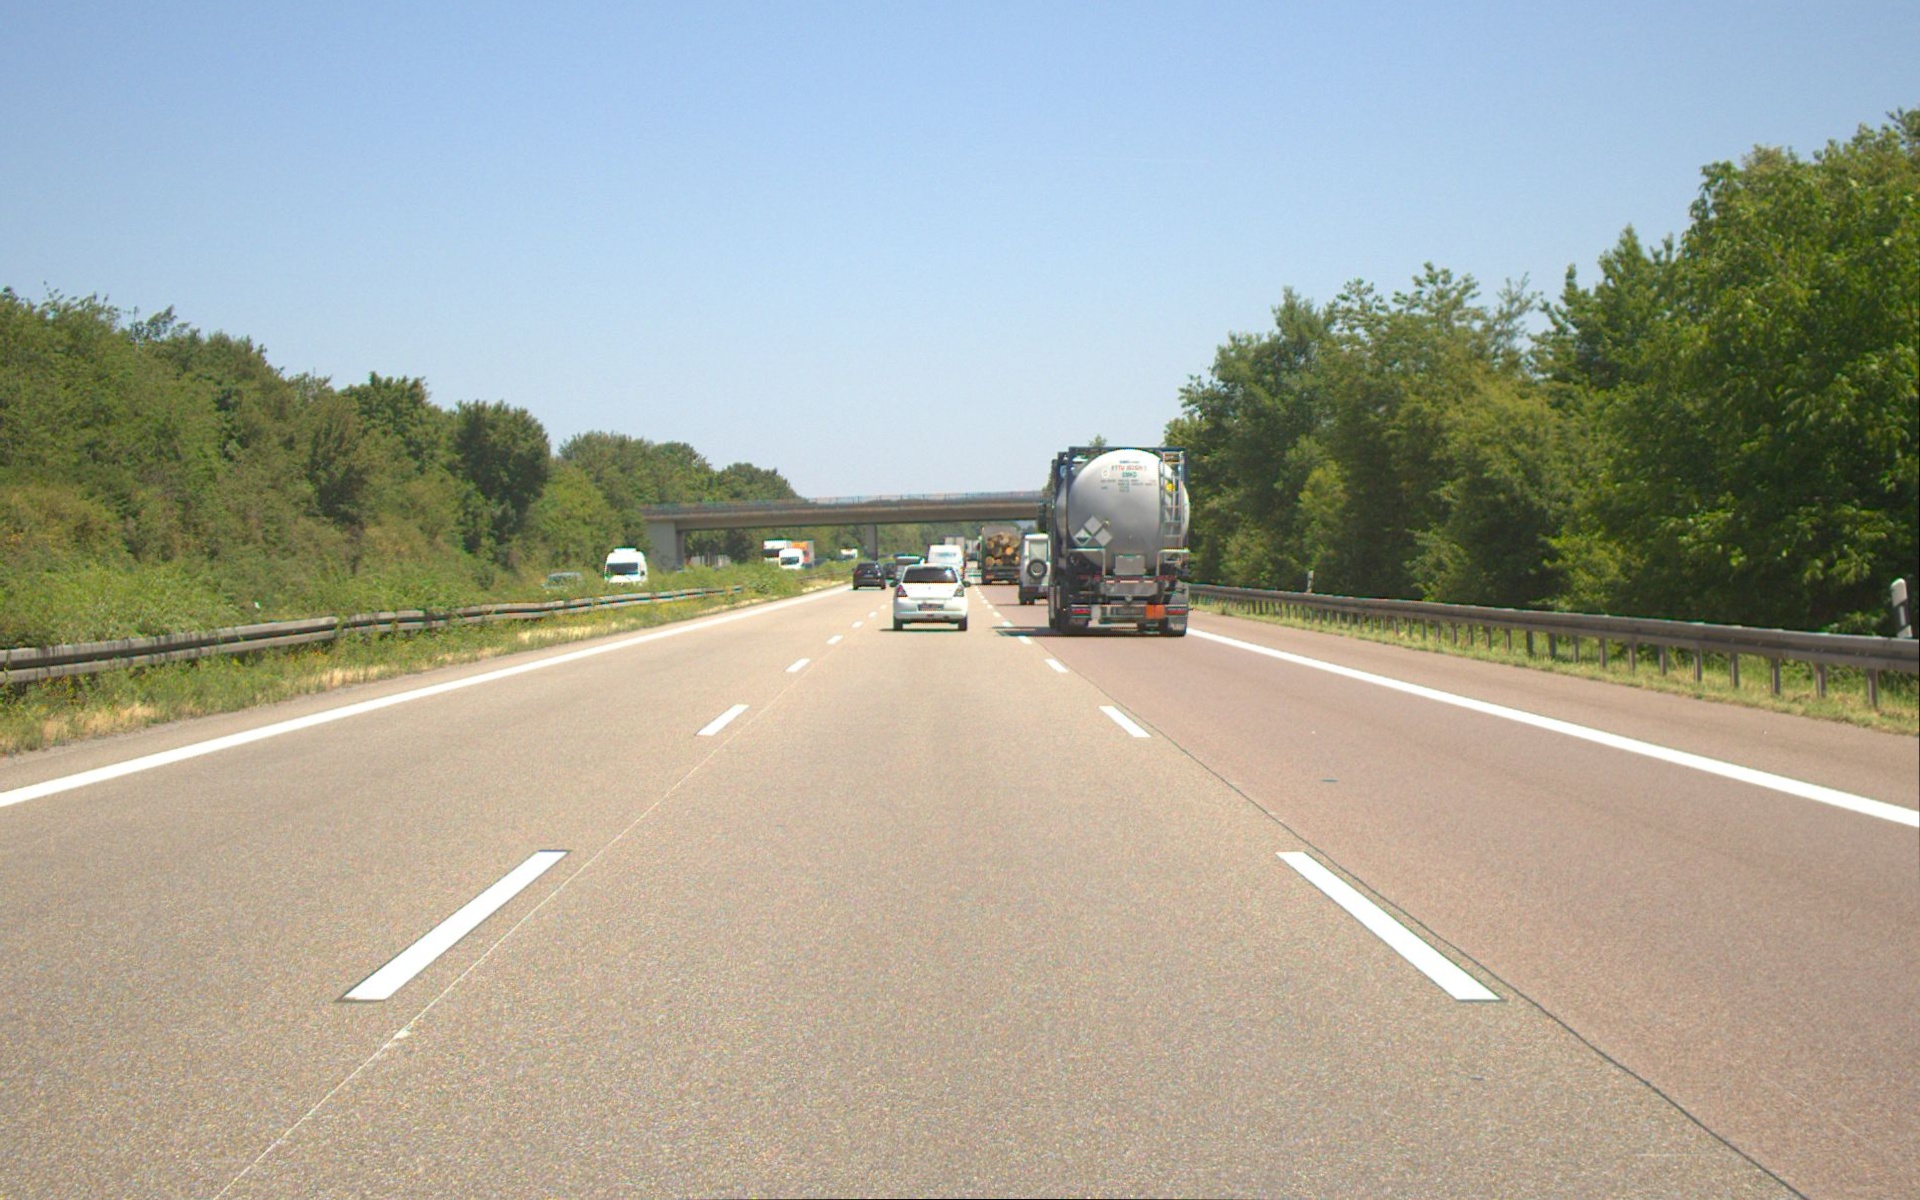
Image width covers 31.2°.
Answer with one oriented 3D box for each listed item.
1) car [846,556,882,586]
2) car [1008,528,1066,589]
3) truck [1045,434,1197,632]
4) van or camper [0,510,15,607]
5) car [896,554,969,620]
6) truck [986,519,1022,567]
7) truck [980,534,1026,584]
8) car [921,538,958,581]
[{"bbox_3d":[-5.504,-1.673,197.387,1.993,1.719,4.786,0,1,-1],"label":"car"},{"bbox_3d":[2.828,-1.545,127.507,1.993,2.217,4.786,0,1,-1],"label":"car"},{"bbox_3d":[3.411,-1.442,75.484,2.739,4.038,10.455,0,1,-1],"label":"truck"},{"bbox_3d":[-21.288,-0.833,69.503,2.498,2.007,6.362,0,1,1],"label":"van or camper"},{"bbox_3d":[-0.623,-0.311,78.652,1.627,1.474,4.000,0,1,-1],"label":"car"},{"bbox_3d":[3.044,-3.913,238.419,2.290,3.229,6.344,1,0,-1],"label":"truck"},{"bbox_3d":[2.821,-2.685,227.578,2.914,3.229,6.344,1,0,-1],"label":"truck"},{"bbox_3d":[-1.140,-2.287,192.107,1.993,2.335,4.387,0,1,1],"label":"car"}]
